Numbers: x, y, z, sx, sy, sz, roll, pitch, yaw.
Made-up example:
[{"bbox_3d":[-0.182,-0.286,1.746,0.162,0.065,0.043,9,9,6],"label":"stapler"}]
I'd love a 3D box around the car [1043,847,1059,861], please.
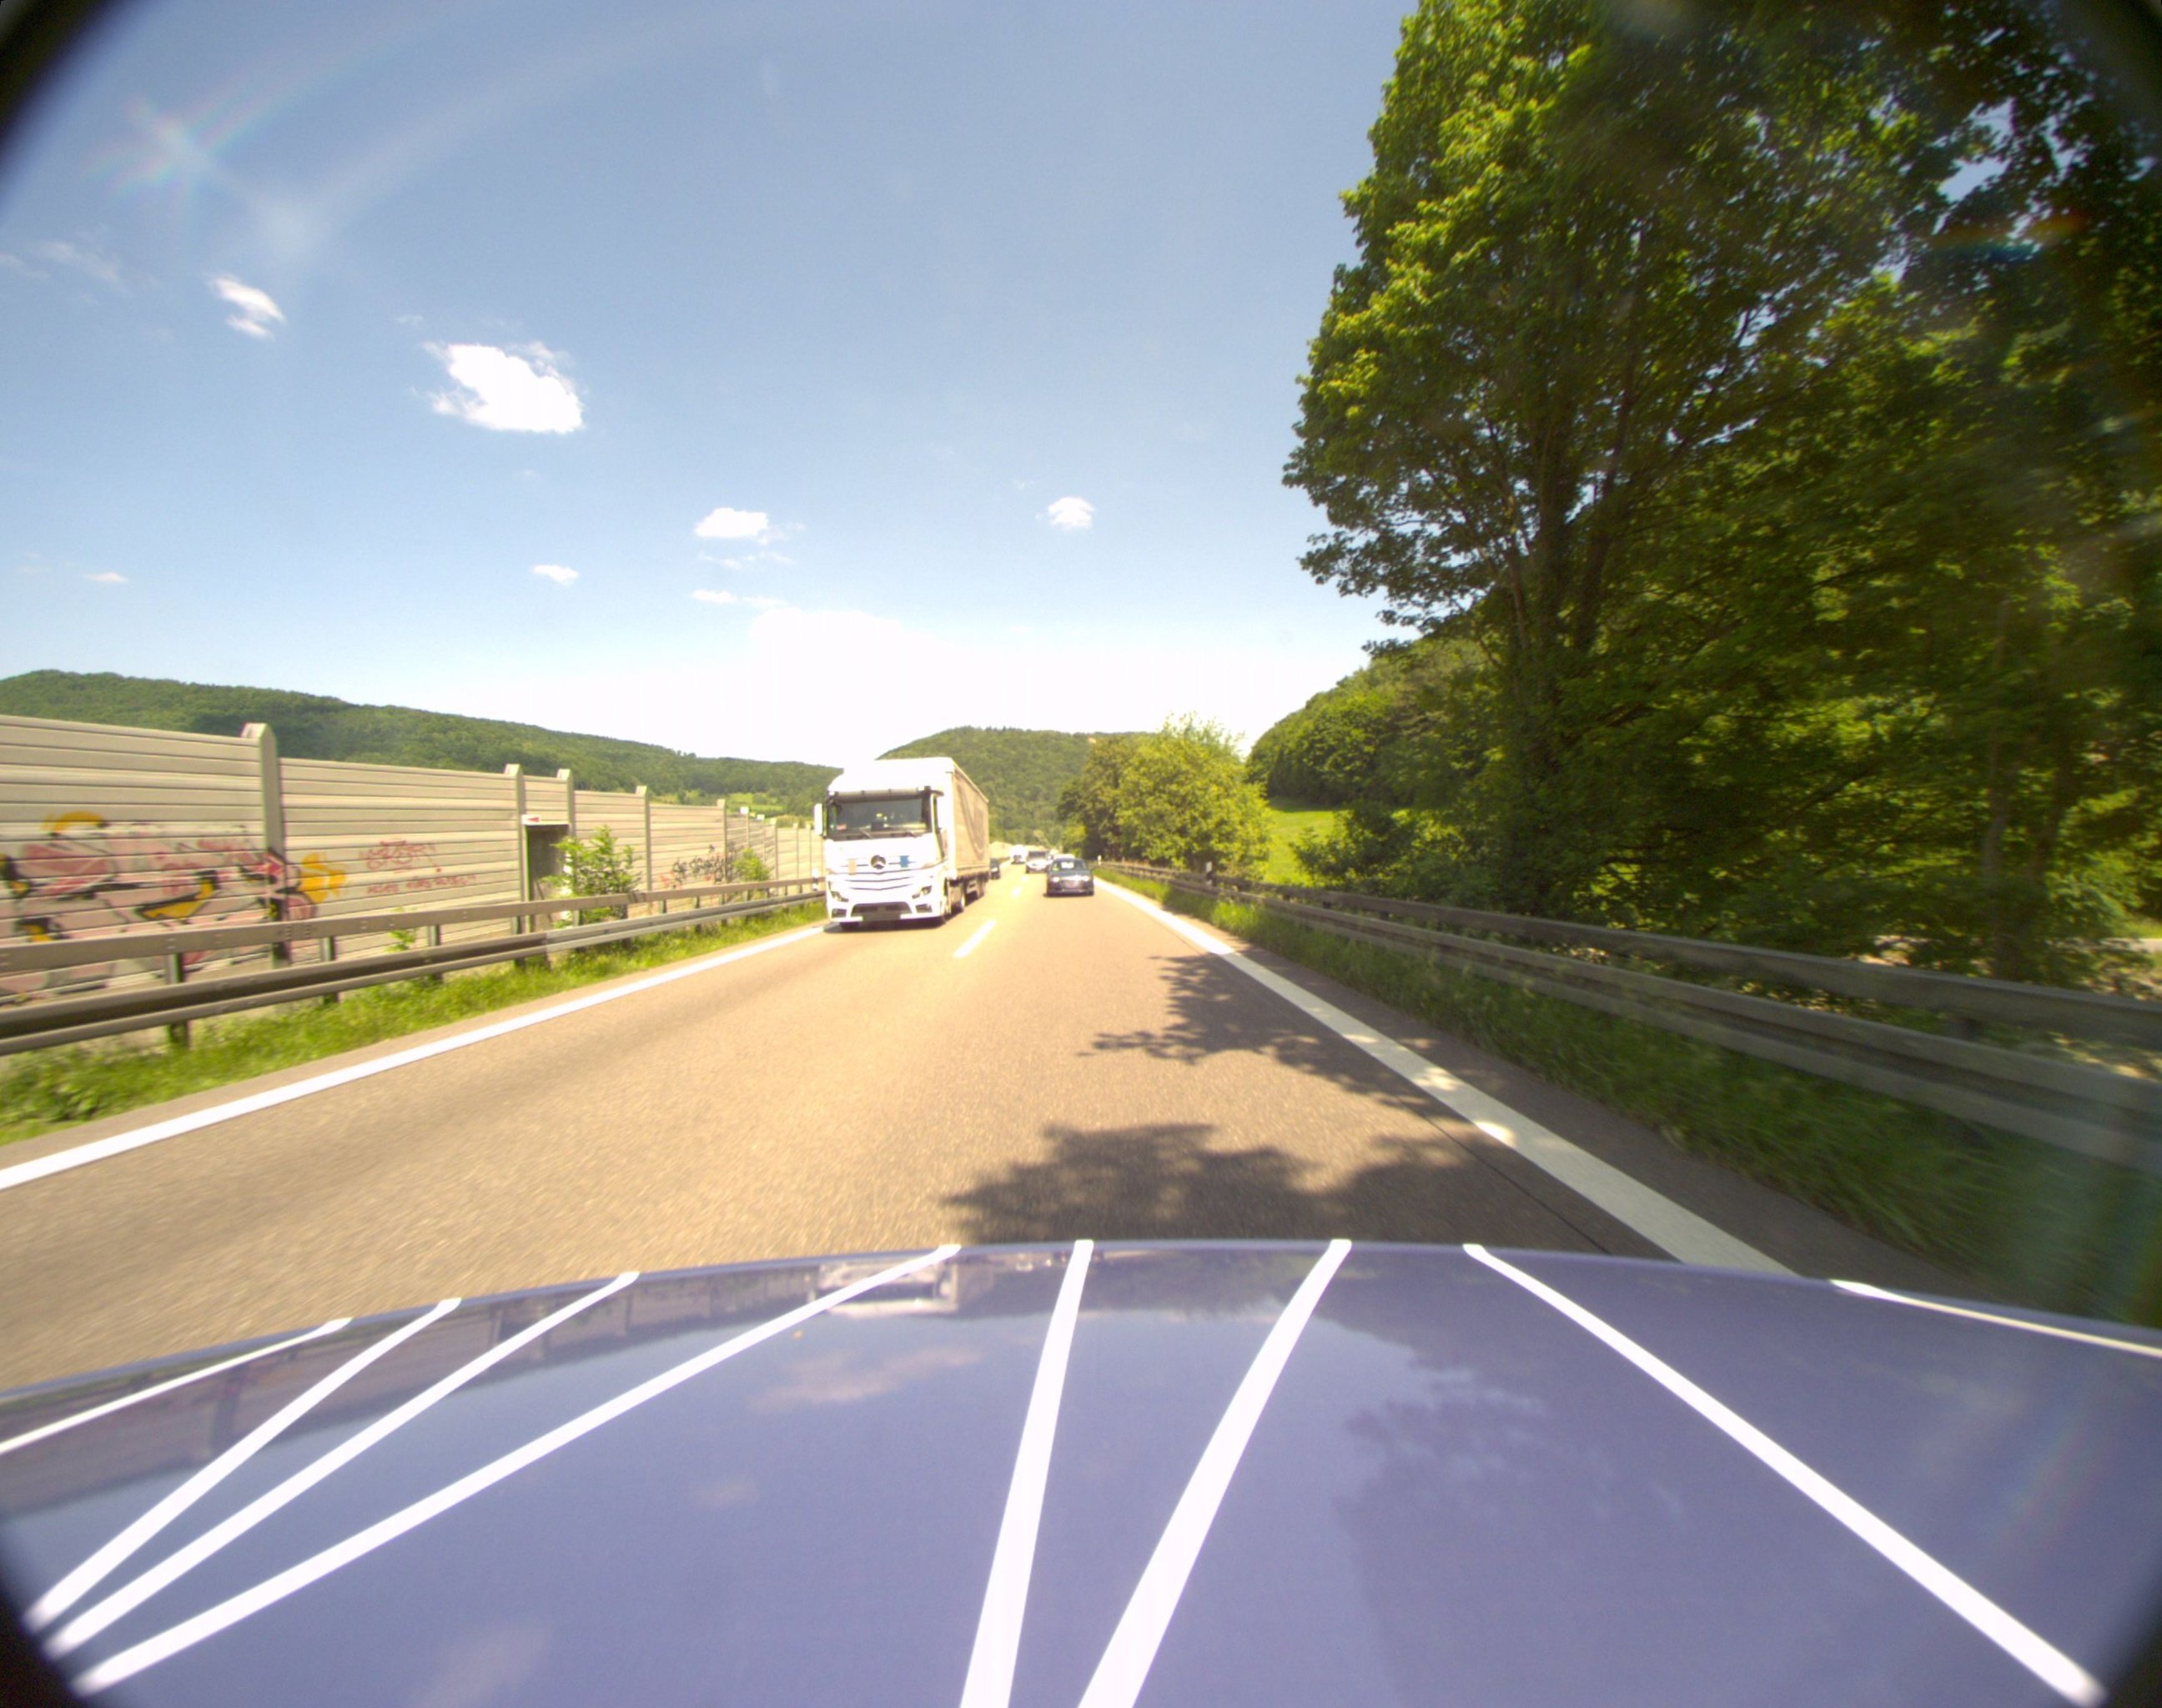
[{"bbox_3d":[-3.733,-0.019,95.189,1.799,1.508,3.721,5,1,1],"label":"car"}]

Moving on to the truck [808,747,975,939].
[{"bbox_3d":[-4.530,-0.289,19.714,2.765,4.016,6.820,-3,1,-3],"label":"truck"}]

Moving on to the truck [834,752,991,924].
[{"bbox_3d":[-4.848,-0.425,24.718,2.862,4.123,12.042,-2,0,-3],"label":"truck"}]

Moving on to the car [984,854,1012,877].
[{"bbox_3d":[-5.574,0.767,51.061,1.663,1.405,3.473,1,1,-3],"label":"car"}]

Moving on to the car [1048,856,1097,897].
[{"bbox_3d":[-0.370,0.836,28.470,1.663,1.435,3.475,-1,-1,-3],"label":"car"}]

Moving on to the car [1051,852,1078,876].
[{"bbox_3d":[-1.180,0.673,53.001,1.716,1.541,3.998,0,1,-4],"label":"car"}]

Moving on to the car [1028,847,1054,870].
[{"bbox_3d":[-3.380,0.383,63.901,2.044,1.854,3.999,0,-1,-5],"label":"car"}]

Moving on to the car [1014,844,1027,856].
[{"bbox_3d":[-9.866,-0.664,123.638,1.999,1.892,3.999,1,0,-3],"label":"car"}]
